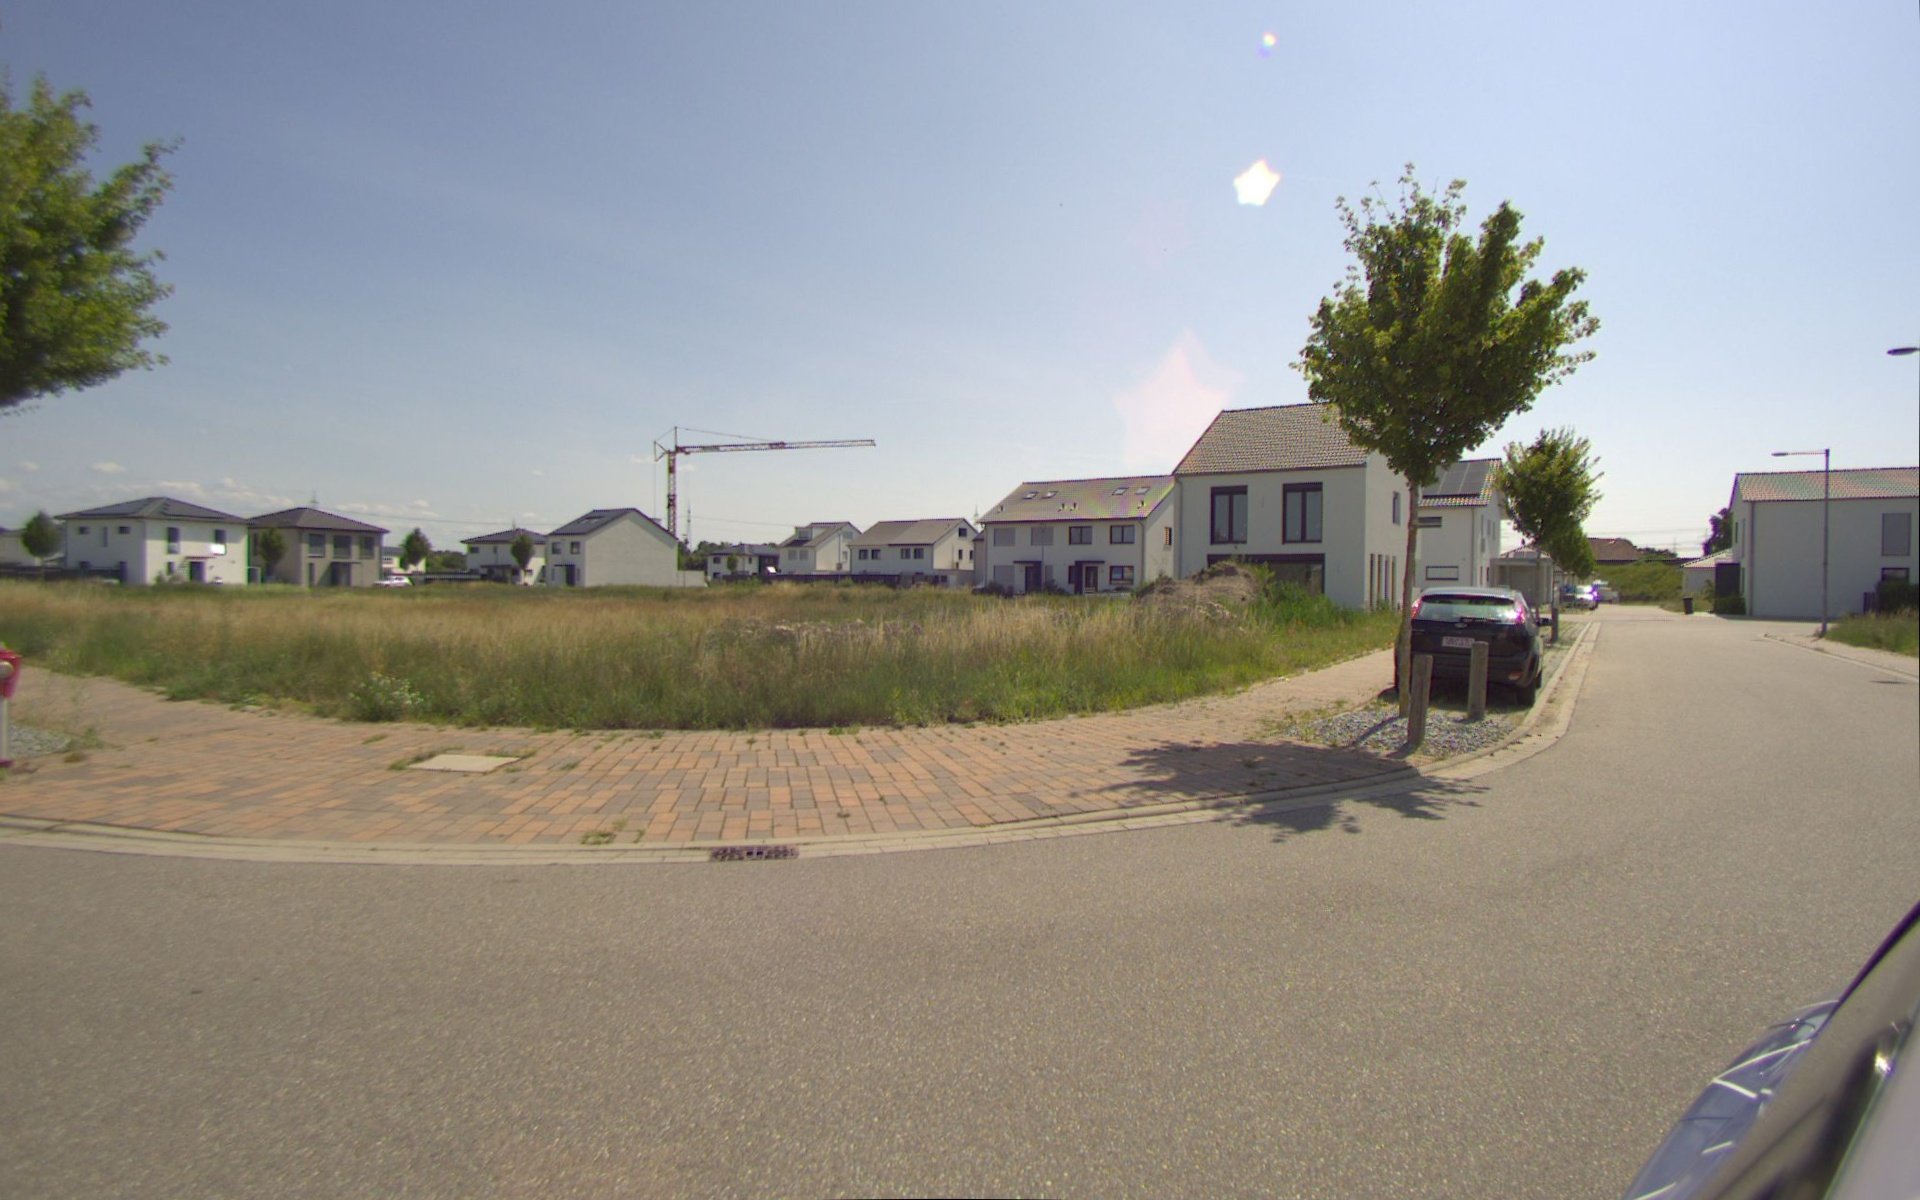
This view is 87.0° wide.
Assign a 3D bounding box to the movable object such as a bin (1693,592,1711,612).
[{"bbox_3d":[41.219,0.095,56.222,0.803,1.112,0.663,1,1,36],"label":"movable object such as a bin"}]

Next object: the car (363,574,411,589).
[{"bbox_3d":[-56.740,-1.809,100.226,1.729,1.415,3.972,0,1,21],"label":"car"}]

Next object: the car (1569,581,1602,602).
[{"bbox_3d":[45.402,-0.622,73.431,1.913,1.438,4.367,1,1,34],"label":"car"}]

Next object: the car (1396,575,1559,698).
[{"bbox_3d":[7.490,0.440,14.661,1.832,1.512,4.153,0,0,28],"label":"car"}]

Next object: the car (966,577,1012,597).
[{"bbox_3d":[2.439,-1.089,83.478,1.806,1.593,3.945,1,1,38],"label":"car"}]
